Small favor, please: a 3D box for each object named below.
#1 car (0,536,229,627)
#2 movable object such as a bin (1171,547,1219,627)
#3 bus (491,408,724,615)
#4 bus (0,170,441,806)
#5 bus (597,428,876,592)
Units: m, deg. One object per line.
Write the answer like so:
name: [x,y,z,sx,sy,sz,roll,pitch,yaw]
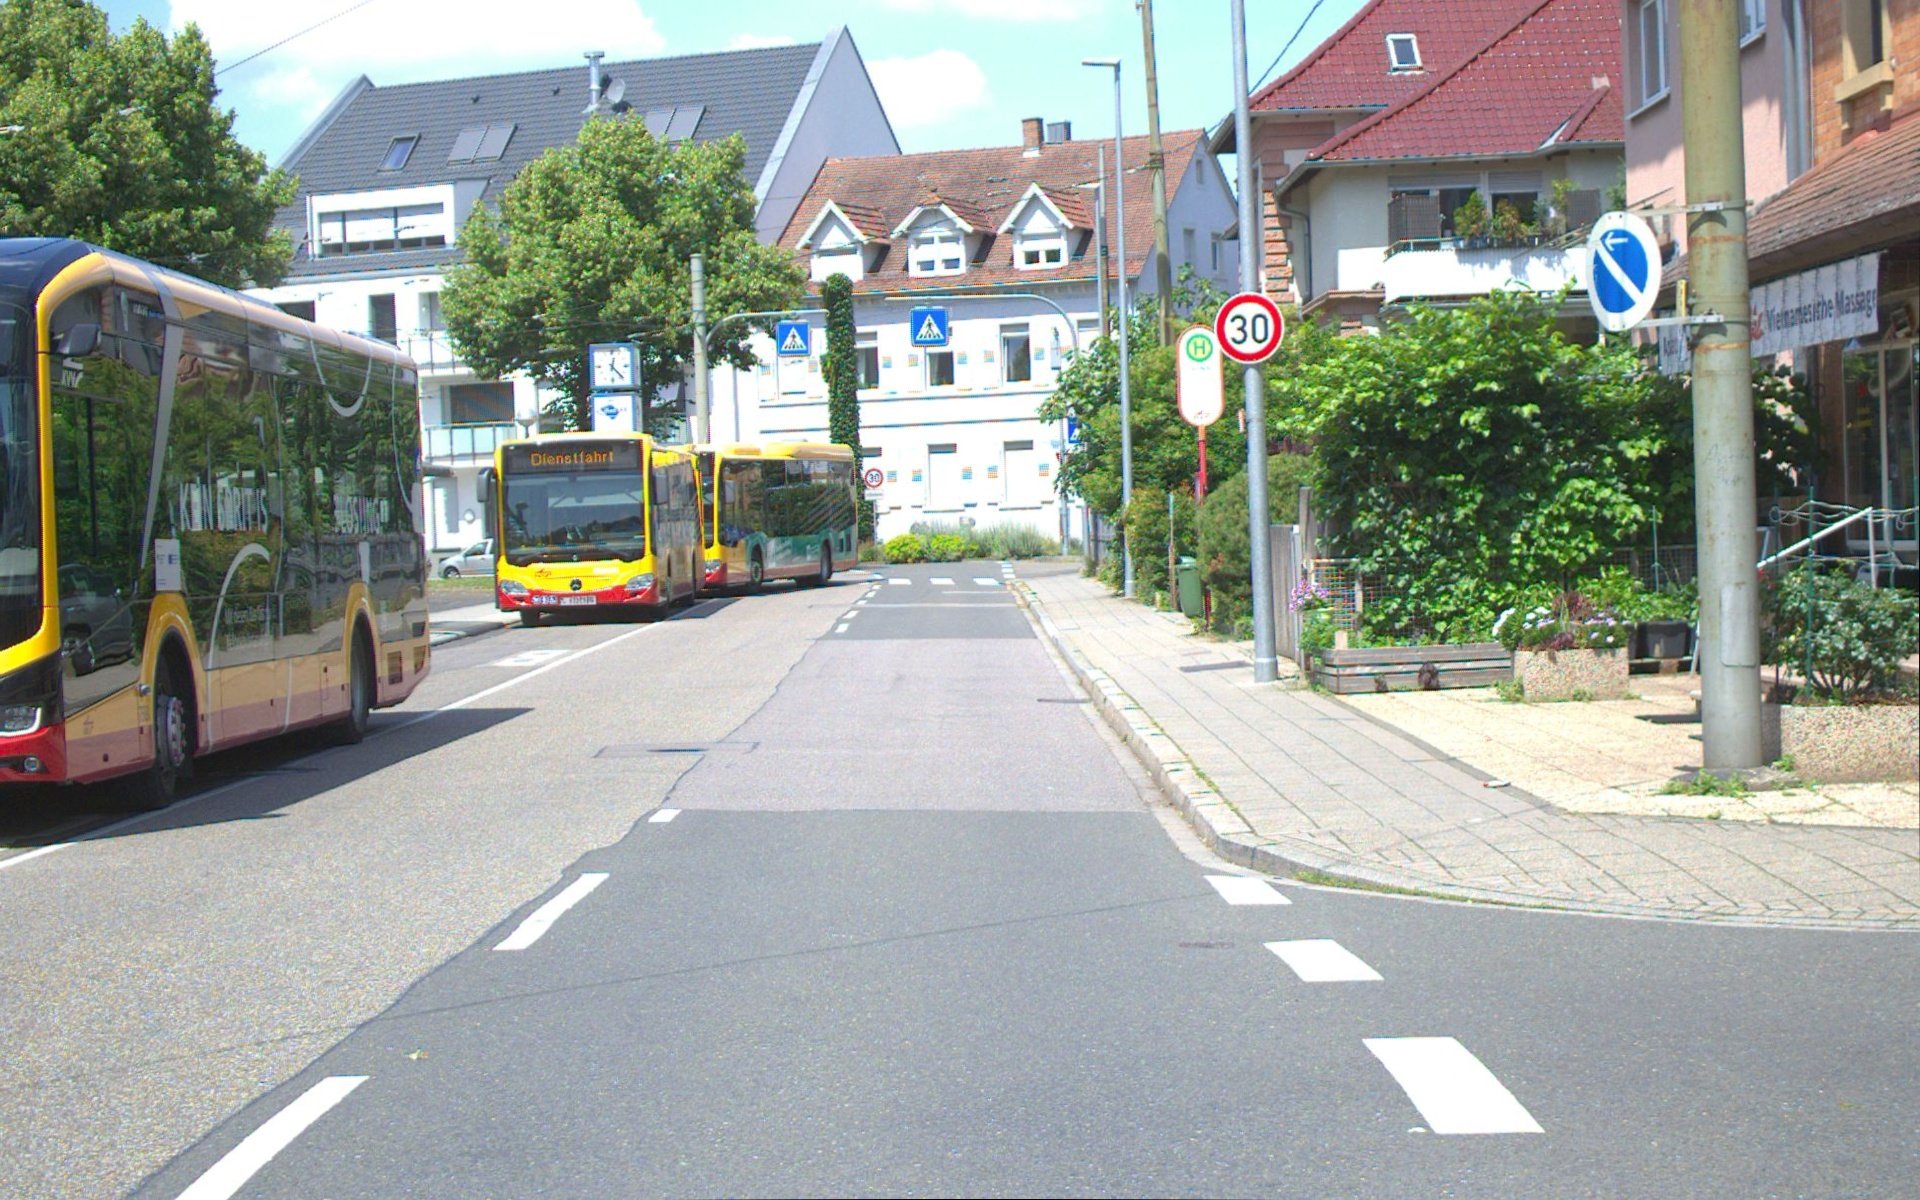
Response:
car: [-12.955,-0.278,52.614,3.277,1.368,1.469,0,0,-20]
movable object such as a bin: [2.775,-0.155,40.613,0.406,0.904,0.729,-5,0,-3]
bus: [-5.932,-1.483,59.853,2.907,3.237,12.119,0,1,-1]
bus: [-5.977,-0.580,23.600,2.898,3.236,12.196,0,0,0]
bus: [-4.533,-1.992,73.310,2.781,3.197,12.301,0,2,12]
